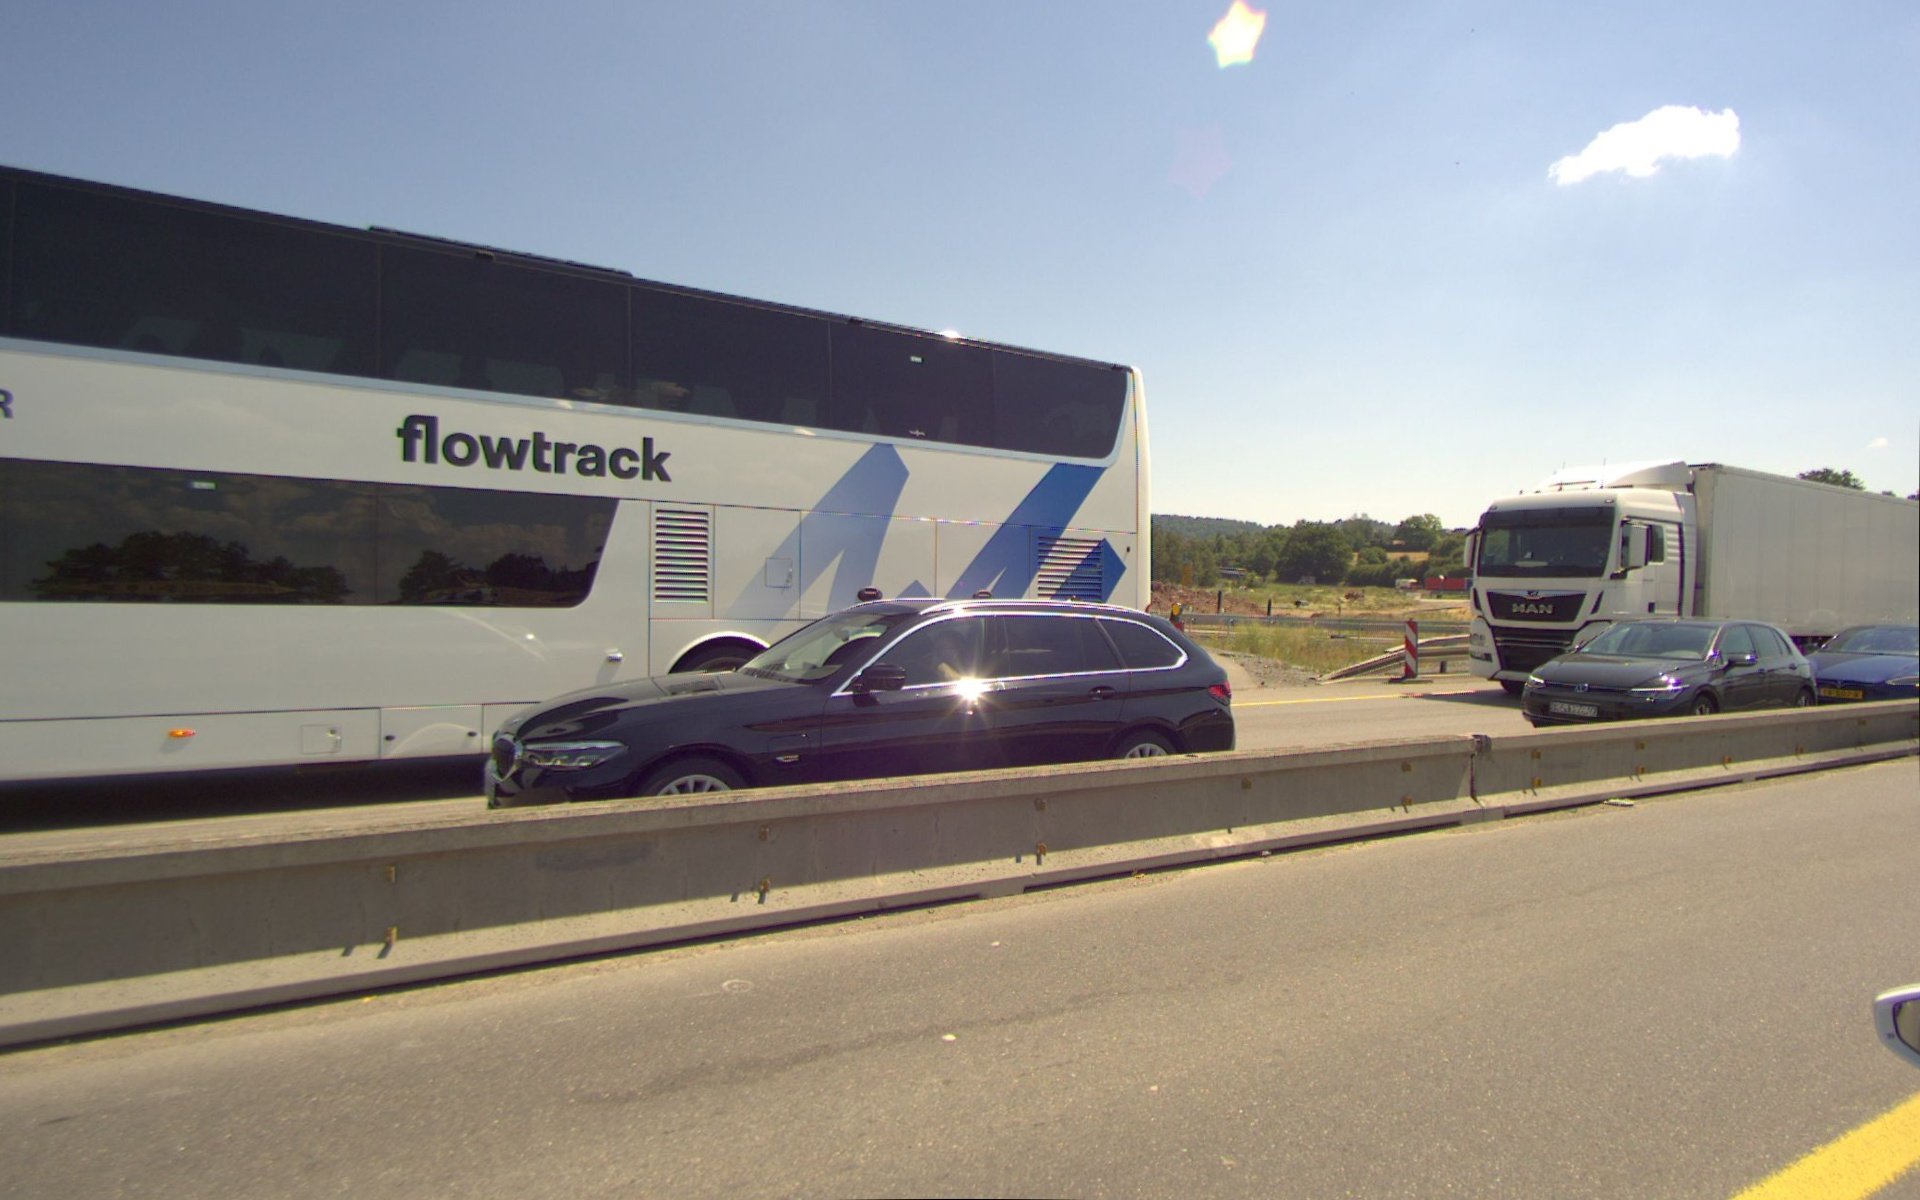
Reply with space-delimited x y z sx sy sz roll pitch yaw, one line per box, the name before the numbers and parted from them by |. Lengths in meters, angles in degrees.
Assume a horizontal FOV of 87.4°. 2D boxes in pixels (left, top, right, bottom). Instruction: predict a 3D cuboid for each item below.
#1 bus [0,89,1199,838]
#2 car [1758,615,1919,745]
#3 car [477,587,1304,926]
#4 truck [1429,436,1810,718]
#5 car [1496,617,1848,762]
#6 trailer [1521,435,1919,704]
bus | -4.336 -0.761 8.120 14.308 4.321 2.726 1 0 -31
car | 14.281 1.070 15.087 5.058 1.457 1.804 -2 3 -29
car | -0.270 0.676 6.498 5.031 1.442 1.908 0 2 -31
truck | 11.969 -0.371 18.160 6.621 4.254 3.083 0 1 -30
car | 8.765 0.958 12.260 4.630 1.442 1.823 1 0 -31
trailer | 17.546 -0.487 21.520 13.914 4.442 3.125 0 1 -31
